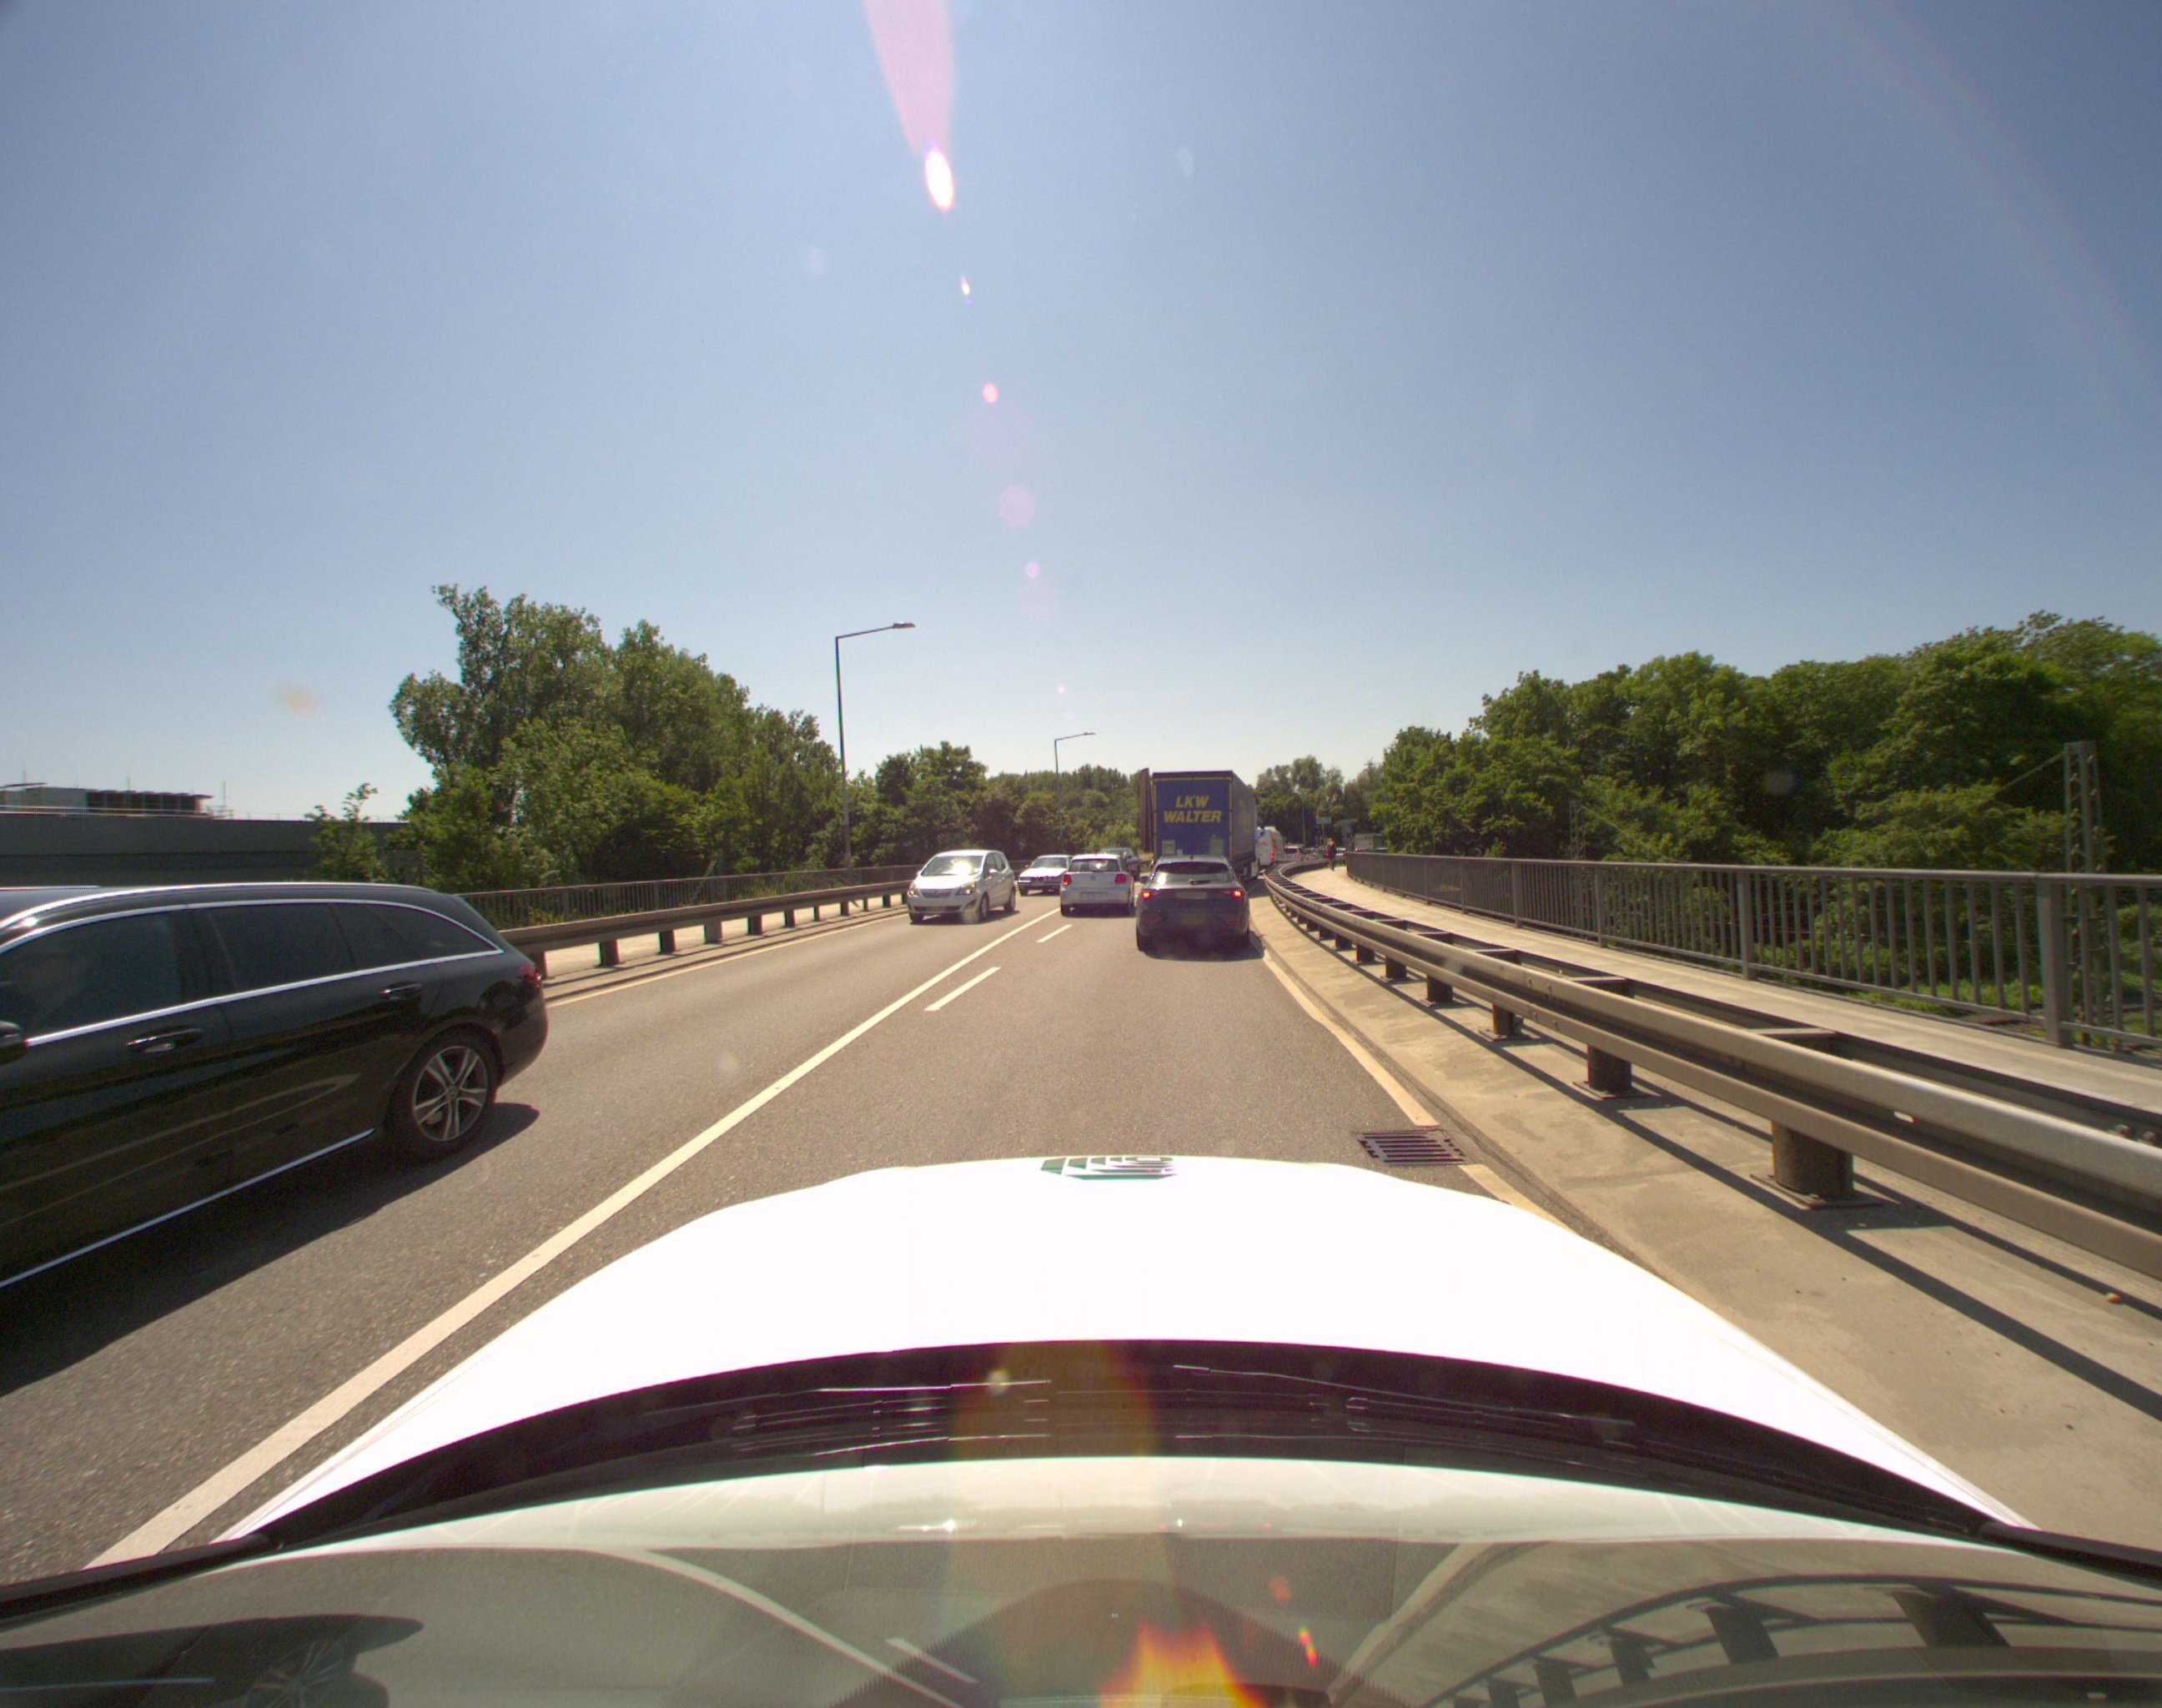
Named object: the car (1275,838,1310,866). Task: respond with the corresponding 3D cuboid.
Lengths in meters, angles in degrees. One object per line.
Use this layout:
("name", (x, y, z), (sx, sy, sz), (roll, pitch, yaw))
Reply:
("car", (14.770, -0.174, 56.750), (1.705, 1.843, 4.023), (-1, 1, 24))

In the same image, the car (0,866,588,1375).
("car", (-4.059, 0.826, 3.015), (1.766, 1.438, 4.391), (-2, 0, 0))

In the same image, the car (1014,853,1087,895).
("car", (-1.025, 0.686, 29.641), (1.685, 1.376, 4.013), (-2, 0, 12))

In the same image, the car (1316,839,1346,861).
("car", (21.677, -0.373, 70.489), (1.704, 1.844, 4.025), (-1, 1, 28))

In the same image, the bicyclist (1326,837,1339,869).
("bicyclist", (13.595, -0.052, 44.015), (0.573, 1.683, 0.733), (-4, -1, 18))

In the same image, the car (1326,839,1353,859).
("car", (24.176, -0.479, 76.011), (1.704, 1.844, 4.025), (-1, 1, 28))

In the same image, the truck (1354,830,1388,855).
("truck", (34.406, -1.351, 96.603), (2.312, 2.873, 5.979), (-1, 0, 34))

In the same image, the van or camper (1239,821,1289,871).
("van or camper", (11.118, -0.482, 49.187), (2.136, 2.815, 6.419), (-1, 0, 20))

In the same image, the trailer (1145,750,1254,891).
("trailer", (5.011, -1.104, 31.819), (2.883, 4.418, 12.481), (-1, 1, 14))

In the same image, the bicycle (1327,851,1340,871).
("bicycle", (13.639, 0.351, 44.036), (0.577, 1.035, 1.492), (-4, -1, 19))

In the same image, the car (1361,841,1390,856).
("car", (31.943, -0.589, 88.344), (1.974, 1.575, 4.025), (1, -1, 35))

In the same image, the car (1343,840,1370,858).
("car", (27.943, -0.501, 82.415), (1.669, 1.760, 4.025), (-1, 0, 32))

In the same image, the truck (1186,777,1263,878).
("truck", (7.084, -1.201, 39.452), (2.882, 4.418, 6.584), (-1, 0, 17))

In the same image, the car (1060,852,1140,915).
("car", (0.587, 0.683, 20.815), (1.668, 1.411, 3.983), (0, 1, 7))

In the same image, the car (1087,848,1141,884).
("car", (1.690, 0.526, 39.758), (1.788, 1.641, 4.316), (-1, 0, 13))

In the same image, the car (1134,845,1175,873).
("car", (4.639, 0.287, 51.059), (1.693, 1.626, 4.271), (-1, 0, 16))

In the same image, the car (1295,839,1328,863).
("car", (17.867, -0.249, 63.067), (1.705, 1.802, 4.024), (-1, 1, 27))

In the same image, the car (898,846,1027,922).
("car", (-2.690, 0.643, 19.544), (1.725, 1.580, 4.189), (-2, 0, 11))

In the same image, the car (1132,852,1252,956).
("car", (1.876, 0.713, 13.565), (1.667, 1.456, 3.968), (-1, 0, 9))
